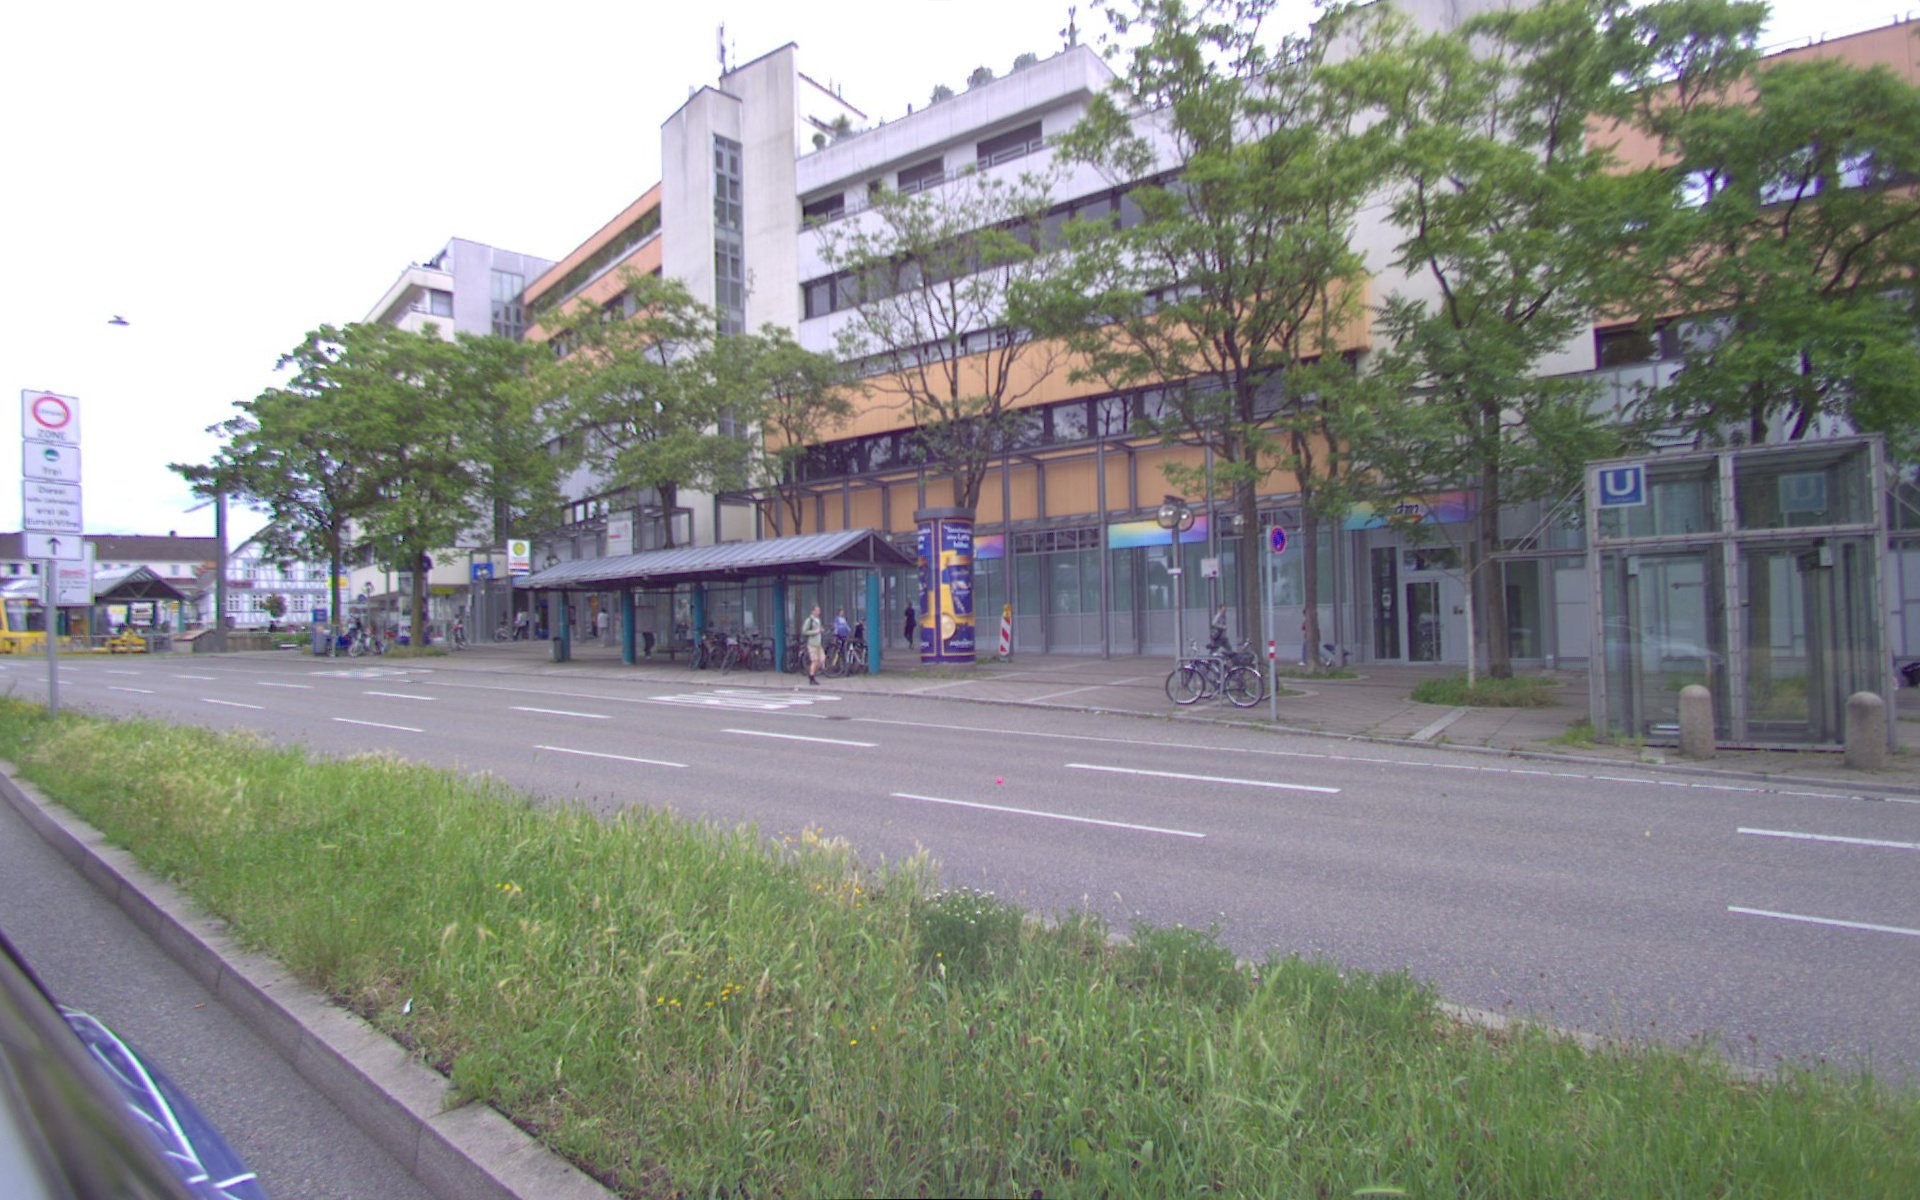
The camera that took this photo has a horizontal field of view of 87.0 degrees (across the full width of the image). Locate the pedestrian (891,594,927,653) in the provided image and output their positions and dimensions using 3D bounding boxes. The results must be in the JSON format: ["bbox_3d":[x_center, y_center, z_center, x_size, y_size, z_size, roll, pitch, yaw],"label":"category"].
[{"bbox_3d":[-1.805,0.834,35.901,0.932,2.029,0.888,-1,-2,35],"label":"pedestrian"}]

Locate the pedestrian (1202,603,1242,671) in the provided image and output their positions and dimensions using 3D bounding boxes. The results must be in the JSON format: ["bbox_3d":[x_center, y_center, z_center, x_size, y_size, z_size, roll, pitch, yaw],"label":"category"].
[{"bbox_3d":[6.858,0.955,26.477,0.787,1.729,0.764,-2,0,32],"label":"pedestrian"}]

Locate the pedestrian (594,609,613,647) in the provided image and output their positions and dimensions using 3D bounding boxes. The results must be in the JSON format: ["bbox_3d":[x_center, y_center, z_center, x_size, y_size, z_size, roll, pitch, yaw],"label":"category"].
[{"bbox_3d":[-15.432,1.197,43.820,0.623,1.612,0.625,-2,0,-27],"label":"pedestrian"}]

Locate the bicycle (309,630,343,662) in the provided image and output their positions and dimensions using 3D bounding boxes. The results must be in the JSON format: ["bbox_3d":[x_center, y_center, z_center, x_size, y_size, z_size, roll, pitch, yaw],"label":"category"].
[{"bbox_3d":[-25.025,1.787,39.976,0.594,1.170,1.971,-2,0,-17],"label":"bicycle"}]

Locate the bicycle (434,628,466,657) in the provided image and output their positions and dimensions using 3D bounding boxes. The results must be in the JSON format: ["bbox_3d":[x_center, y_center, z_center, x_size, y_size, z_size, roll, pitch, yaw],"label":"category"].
[{"bbox_3d":[-21.443,1.785,42.610,0.663,1.170,2.023,-1,-2,-11],"label":"bicycle"}]

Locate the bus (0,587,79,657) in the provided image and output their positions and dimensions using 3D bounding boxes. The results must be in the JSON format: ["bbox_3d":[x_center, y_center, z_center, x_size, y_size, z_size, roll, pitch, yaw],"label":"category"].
[{"bbox_3d":[-60.463,1.535,61.713,19.256,3.889,3.851,-2,-2,29],"label":"bus"}]

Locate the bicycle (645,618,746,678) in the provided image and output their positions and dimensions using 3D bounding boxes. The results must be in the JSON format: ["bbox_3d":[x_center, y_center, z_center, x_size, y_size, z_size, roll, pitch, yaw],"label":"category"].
[{"bbox_3d":[-7.467,1.325,28.725,0.969,1.518,2.877,-2,0,32],"label":"bicycle"}]

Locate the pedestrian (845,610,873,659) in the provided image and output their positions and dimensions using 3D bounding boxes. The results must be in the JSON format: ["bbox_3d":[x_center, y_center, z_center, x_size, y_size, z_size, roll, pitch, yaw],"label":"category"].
[{"bbox_3d":[-3.386,1.151,33.909,0.621,1.612,0.627,-2,0,35],"label":"pedestrian"}]

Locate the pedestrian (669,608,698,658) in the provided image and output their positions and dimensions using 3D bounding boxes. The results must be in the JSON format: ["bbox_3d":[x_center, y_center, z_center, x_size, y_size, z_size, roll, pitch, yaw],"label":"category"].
[{"bbox_3d":[-9.860,1.158,36.056,0.763,1.729,0.789,-2,0,-32],"label":"pedestrian"}]

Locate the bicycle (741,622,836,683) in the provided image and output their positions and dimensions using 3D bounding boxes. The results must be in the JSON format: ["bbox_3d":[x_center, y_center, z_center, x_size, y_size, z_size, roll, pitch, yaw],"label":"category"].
[{"bbox_3d":[-4.523,1.359,26.966,0.803,1.518,2.876,-2,-2,32],"label":"bicycle"}]

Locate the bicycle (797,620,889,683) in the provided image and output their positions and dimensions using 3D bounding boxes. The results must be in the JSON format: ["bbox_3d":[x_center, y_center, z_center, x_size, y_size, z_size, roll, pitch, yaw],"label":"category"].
[{"bbox_3d":[-2.950,1.282,25.986,0.698,1.518,2.876,-2,-2,32],"label":"bicycle"}]

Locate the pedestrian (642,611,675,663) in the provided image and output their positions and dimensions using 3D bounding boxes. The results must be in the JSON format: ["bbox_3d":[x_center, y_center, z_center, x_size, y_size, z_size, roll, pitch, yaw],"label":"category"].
[{"bbox_3d":[-10.252,1.242,34.440,0.705,1.725,0.768,-2,0,35],"label":"pedestrian"}]

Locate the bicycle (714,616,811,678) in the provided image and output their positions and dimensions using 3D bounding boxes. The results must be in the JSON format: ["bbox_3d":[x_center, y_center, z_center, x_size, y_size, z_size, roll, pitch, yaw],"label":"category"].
[{"bbox_3d":[-5.327,1.238,27.581,0.809,1.518,2.876,-2,0,33],"label":"bicycle"}]

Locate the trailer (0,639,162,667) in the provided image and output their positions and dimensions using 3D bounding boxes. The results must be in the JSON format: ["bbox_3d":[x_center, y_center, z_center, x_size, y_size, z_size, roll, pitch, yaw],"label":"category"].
[{"bbox_3d":[-46.883,2.804,53.596,12.072,1.343,2.822,-2,-2,29],"label":"trailer"}]

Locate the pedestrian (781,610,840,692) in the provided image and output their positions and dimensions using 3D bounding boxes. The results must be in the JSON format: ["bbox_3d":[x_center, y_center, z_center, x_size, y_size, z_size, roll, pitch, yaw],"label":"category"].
[{"bbox_3d":[-3.496,1.164,23.664,1.212,1.836,0.697,-1,1,37],"label":"pedestrian"}]

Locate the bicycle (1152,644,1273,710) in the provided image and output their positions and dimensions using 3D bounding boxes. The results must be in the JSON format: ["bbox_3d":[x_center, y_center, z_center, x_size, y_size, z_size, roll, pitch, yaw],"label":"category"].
[{"bbox_3d":[4.440,1.337,17.824,1.926,1.092,0.825,-2,-2,27],"label":"bicycle"}]

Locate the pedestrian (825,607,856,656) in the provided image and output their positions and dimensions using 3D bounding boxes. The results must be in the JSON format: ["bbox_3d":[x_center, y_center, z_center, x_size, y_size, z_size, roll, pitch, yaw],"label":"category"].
[{"bbox_3d":[-3.953,1.038,33.473,0.705,1.595,0.660,-2,0,35],"label":"pedestrian"}]

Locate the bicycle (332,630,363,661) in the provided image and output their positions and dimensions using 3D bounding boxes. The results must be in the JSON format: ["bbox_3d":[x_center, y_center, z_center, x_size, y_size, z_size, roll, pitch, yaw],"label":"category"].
[{"bbox_3d":[-24.153,1.793,39.931,0.594,1.170,1.971,0,-2,-18],"label":"bicycle"}]

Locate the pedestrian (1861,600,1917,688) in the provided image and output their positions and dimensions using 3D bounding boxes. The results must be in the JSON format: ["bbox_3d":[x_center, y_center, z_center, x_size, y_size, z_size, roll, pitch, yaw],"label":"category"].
[{"bbox_3d":[18.690,0.878,20.373,0.678,1.740,0.560,-2,-2,32],"label":"pedestrian"}]

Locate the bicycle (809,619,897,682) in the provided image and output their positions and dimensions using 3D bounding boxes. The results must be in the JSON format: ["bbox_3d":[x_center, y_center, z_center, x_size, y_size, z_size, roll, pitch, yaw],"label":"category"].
[{"bbox_3d":[-2.691,1.259,25.857,0.597,1.518,2.876,-2,-2,32],"label":"bicycle"}]

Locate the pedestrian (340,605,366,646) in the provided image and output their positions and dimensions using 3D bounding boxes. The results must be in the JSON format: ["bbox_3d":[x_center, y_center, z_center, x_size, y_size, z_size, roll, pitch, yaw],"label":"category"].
[{"bbox_3d":[-28.569,1.220,47.625,0.871,1.891,0.738,-2,-2,32],"label":"pedestrian"}]

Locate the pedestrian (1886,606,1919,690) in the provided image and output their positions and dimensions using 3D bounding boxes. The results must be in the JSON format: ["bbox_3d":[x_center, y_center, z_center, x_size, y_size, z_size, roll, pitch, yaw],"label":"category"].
[{"bbox_3d":[18.553,0.925,19.673,0.678,1.601,0.513,-2,-2,32],"label":"pedestrian"}]

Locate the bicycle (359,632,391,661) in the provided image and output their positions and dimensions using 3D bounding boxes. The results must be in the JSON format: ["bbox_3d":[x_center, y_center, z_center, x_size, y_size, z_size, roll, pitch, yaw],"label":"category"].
[{"bbox_3d":[-23.712,1.885,40.996,1.966,1.170,0.596,-3,-3,44],"label":"bicycle"}]

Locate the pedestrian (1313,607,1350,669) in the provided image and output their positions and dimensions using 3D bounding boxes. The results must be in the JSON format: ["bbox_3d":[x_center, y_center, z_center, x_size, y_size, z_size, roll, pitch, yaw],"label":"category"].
[{"bbox_3d":[9.874,1.001,26.894,0.822,1.598,0.629,-1,-2,31],"label":"pedestrian"}]

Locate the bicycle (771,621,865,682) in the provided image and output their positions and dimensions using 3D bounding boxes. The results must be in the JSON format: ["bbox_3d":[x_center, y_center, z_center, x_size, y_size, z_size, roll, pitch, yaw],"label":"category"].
[{"bbox_3d":[-3.660,1.305,26.439,0.776,1.518,2.876,-2,-2,32],"label":"bicycle"}]

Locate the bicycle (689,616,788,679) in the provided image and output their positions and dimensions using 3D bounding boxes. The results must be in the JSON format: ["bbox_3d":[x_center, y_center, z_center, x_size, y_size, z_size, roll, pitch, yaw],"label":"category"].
[{"bbox_3d":[-6.096,1.286,28.073,0.888,1.518,2.877,-2,1,32],"label":"bicycle"}]

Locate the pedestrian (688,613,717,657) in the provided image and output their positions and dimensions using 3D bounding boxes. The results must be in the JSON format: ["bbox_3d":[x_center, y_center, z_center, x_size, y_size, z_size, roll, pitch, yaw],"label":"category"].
[{"bbox_3d":[-10.420,1.428,41.017,0.787,1.729,0.764,-2,0,32],"label":"pedestrian"}]

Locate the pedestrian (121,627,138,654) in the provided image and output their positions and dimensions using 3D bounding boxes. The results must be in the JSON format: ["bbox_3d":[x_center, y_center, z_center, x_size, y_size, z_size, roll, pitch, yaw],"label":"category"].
[{"bbox_3d":[-48.653,2.360,59.268,0.618,1.585,0.594,-2,-2,30],"label":"pedestrian"}]

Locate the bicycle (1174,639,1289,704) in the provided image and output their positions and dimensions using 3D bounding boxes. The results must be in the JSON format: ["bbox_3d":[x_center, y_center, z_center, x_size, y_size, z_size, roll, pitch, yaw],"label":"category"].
[{"bbox_3d":[5.028,1.299,18.758,1.946,1.145,0.709,-1,-2,26],"label":"bicycle"}]

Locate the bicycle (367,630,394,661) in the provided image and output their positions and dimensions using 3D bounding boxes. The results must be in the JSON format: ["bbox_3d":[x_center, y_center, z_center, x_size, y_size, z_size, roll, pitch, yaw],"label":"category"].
[{"bbox_3d":[-22.801,1.789,39.848,0.594,1.170,1.695,0,-2,-19],"label":"bicycle"}]
